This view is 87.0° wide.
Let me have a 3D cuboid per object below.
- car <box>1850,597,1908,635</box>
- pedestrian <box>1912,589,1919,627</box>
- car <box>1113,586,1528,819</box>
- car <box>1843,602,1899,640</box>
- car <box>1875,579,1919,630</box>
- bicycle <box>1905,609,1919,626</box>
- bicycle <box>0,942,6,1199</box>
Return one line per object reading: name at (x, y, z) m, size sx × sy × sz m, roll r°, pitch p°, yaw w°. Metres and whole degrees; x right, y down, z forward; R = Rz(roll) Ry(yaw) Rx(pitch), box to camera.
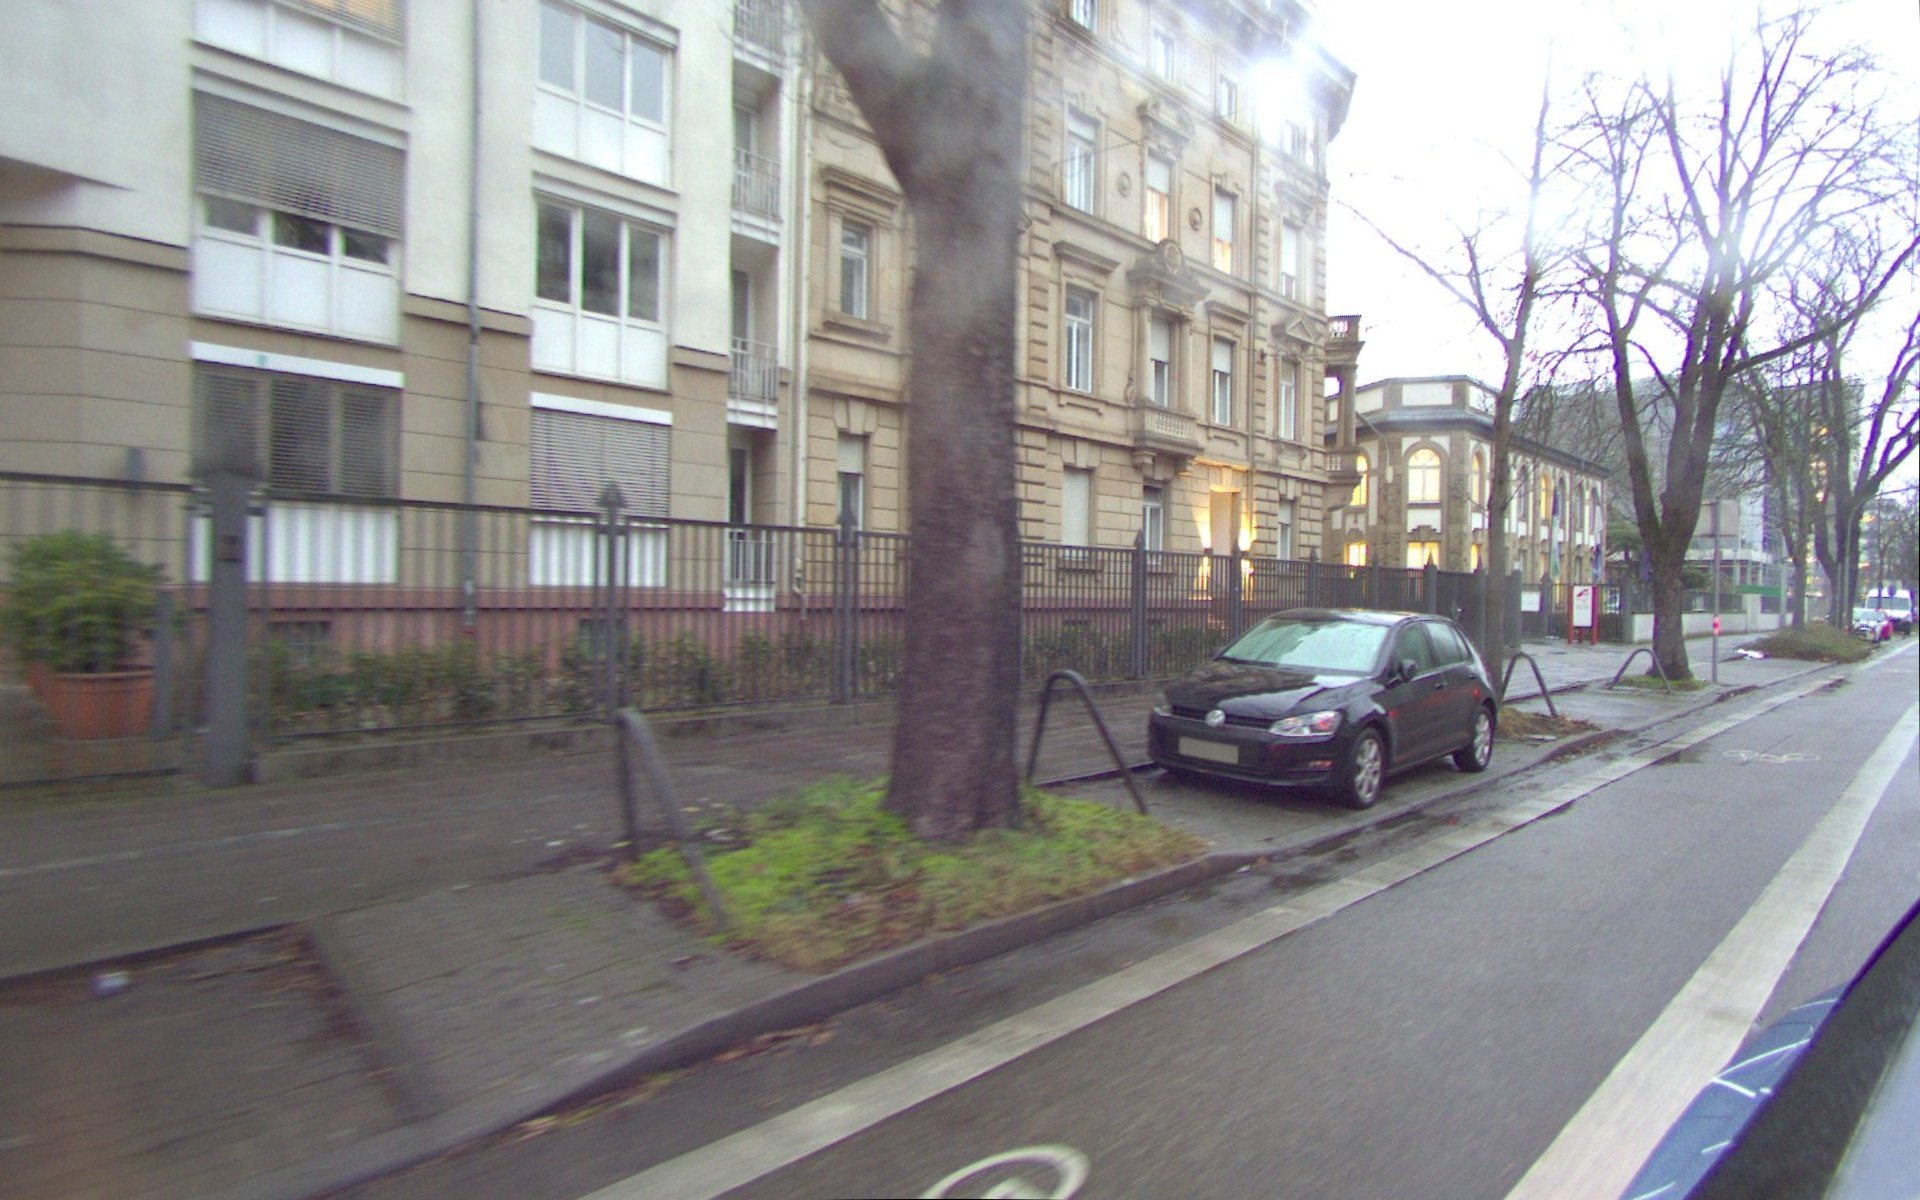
car at (44.252, 0.747, 48.728) m, size 1.993 × 1.703 × 3.938 m, roll 0°, pitch 1°, yaw 43°
pedestrian at (58.728, 0.497, 61.590) m, size 1.115 × 2.287 × 0.937 m, roll 0°, pitch 0°, yaw 44°
car at (3.290, 0.689, 8.769) m, size 4.089 × 1.463 × 1.759 m, roll 1°, pitch 2°, yaw -45°
car at (37.383, 0.806, 41.502) m, size 1.623 × 1.425 × 3.938 m, roll 0°, pitch 1°, yaw 43°
car at (51.321, 0.208, 55.138) m, size 2.087 × 2.670 × 5.365 m, roll 0°, pitch 1°, yaw 43°
bicycle at (58.783, 1.096, 61.537) m, size 0.844 × 1.004 × 1.913 m, roll 0°, pitch 1°, yaw -45°
bicycle at (-1.847, 0.916, 0.529) m, size 0.716 × 1.126 × 1.911 m, roll -1°, pitch -1°, yaw 42°
